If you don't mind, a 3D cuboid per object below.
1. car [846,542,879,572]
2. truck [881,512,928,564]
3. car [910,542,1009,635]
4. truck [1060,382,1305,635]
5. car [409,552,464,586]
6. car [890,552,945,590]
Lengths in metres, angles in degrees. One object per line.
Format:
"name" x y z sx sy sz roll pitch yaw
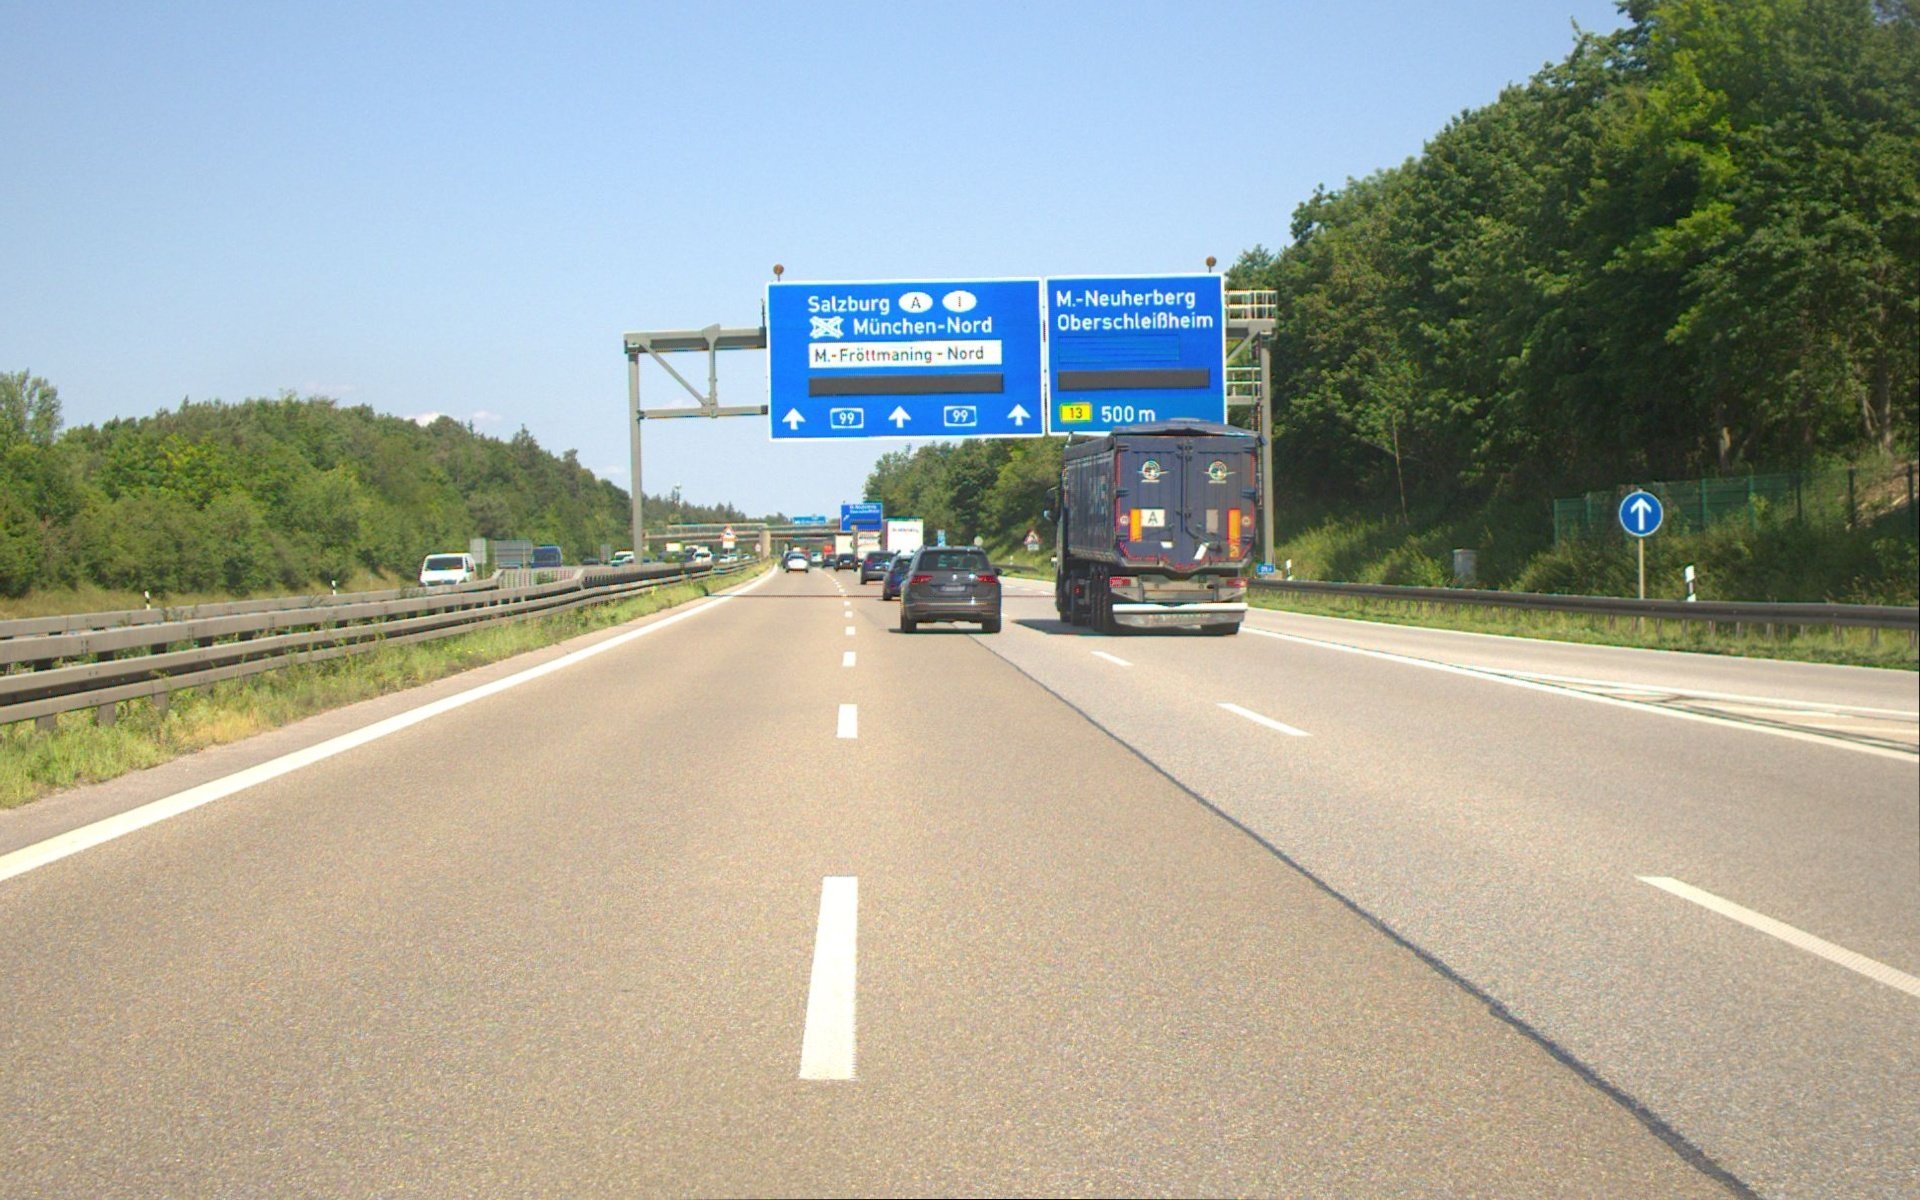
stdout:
"car" -4.672 -2.068 164.939 1.471 1.393 3.410 2 1 0
"truck" -4.149 -4.652 258.294 3.435 3.782 13.353 0 1 -1
"car" 0.003 -0.249 65.055 1.799 1.663 4.258 1 1 0
"truck" 4.096 -1.735 67.146 3.780 4.407 14.051 0 1 0
"car" -20.313 -1.203 133.605 1.604 1.295 3.791 0 1 -1
"car" -1.334 -0.925 108.395 1.709 1.151 3.689 -1 1 0
